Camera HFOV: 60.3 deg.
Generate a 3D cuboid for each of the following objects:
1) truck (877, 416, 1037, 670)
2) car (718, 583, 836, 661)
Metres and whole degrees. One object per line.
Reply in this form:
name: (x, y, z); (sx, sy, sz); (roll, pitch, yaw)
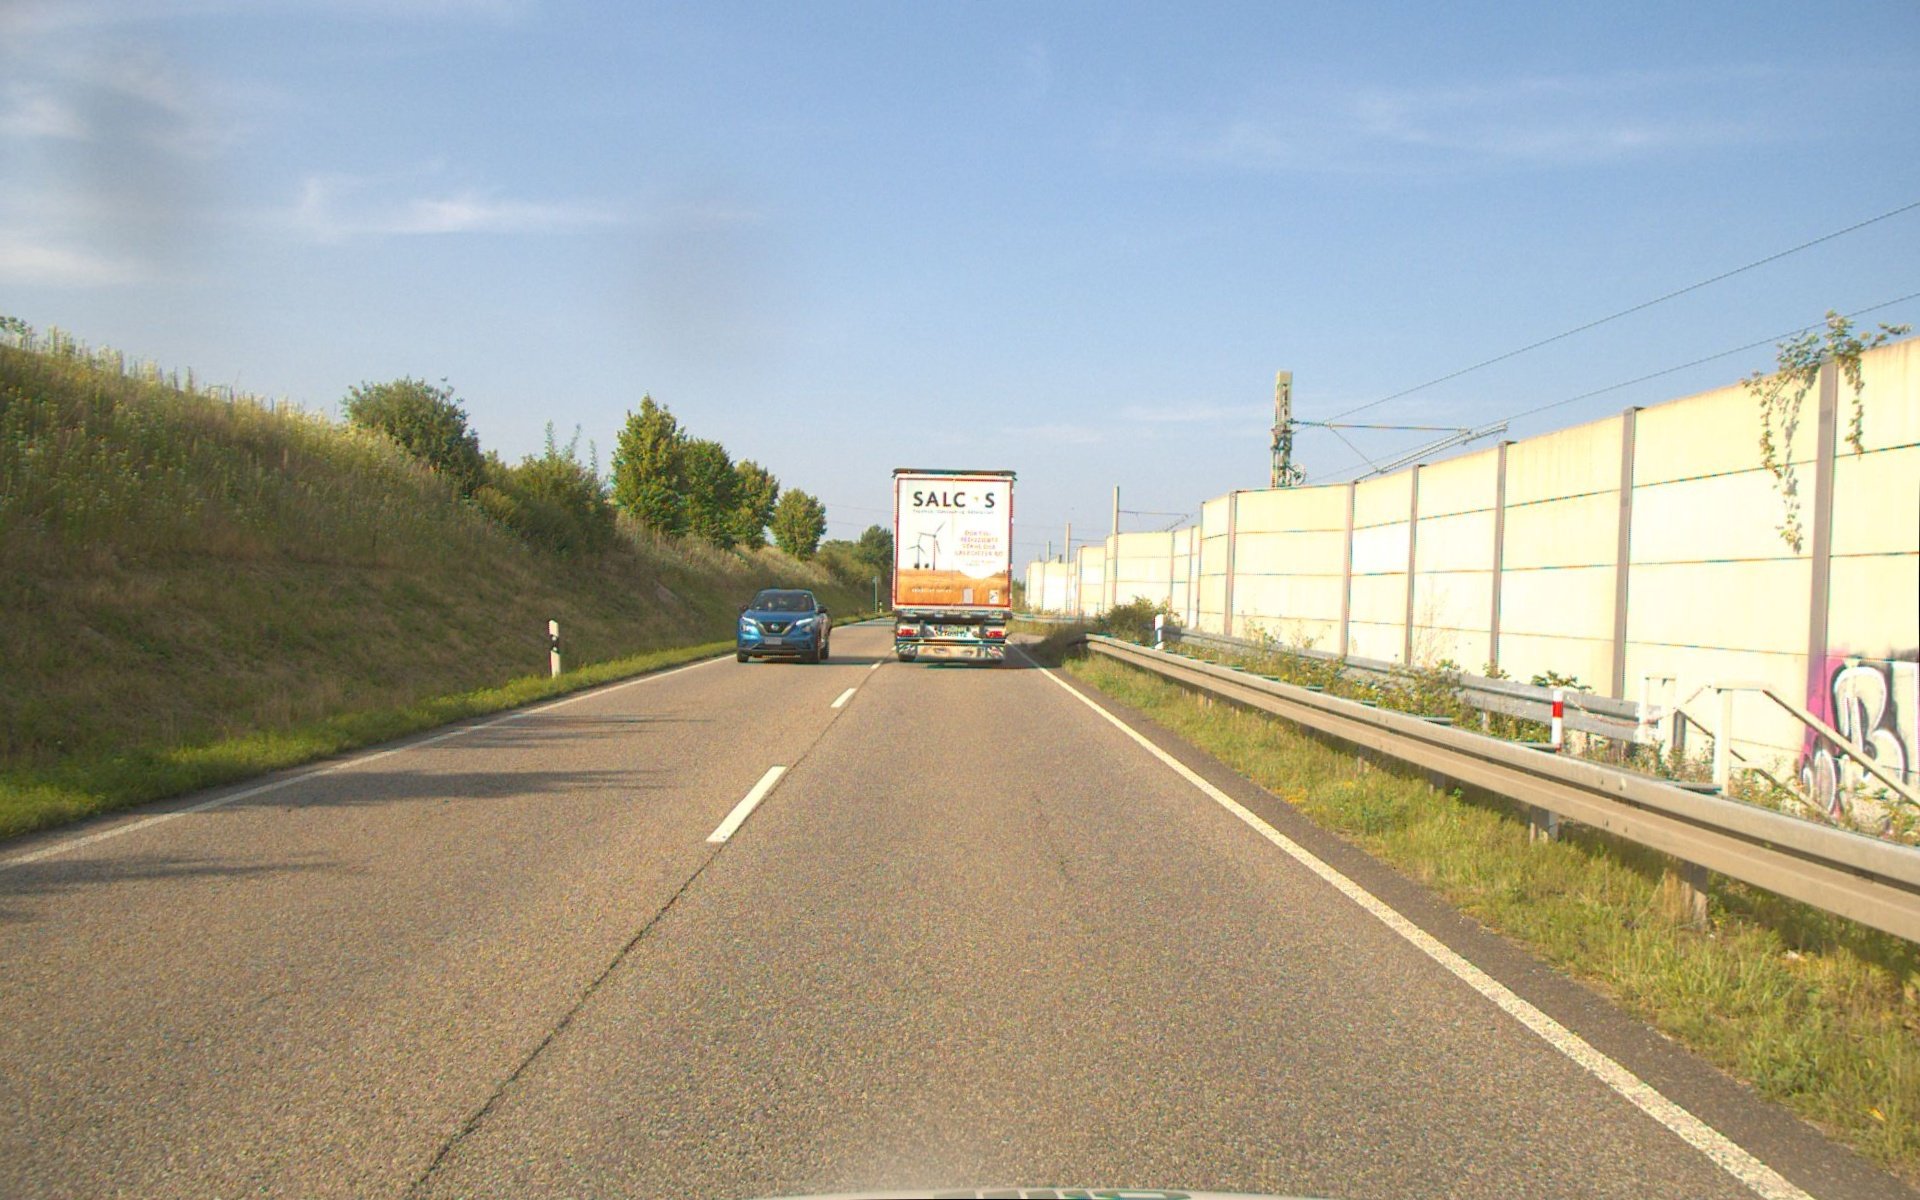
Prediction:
truck: (-0.125, -1.196, 40.213); (3.224, 5.179, 12.035); (1, 0, -1)
car: (-4.026, 0.445, 37.287); (2.097, 1.601, 5.339); (1, 0, -1)
